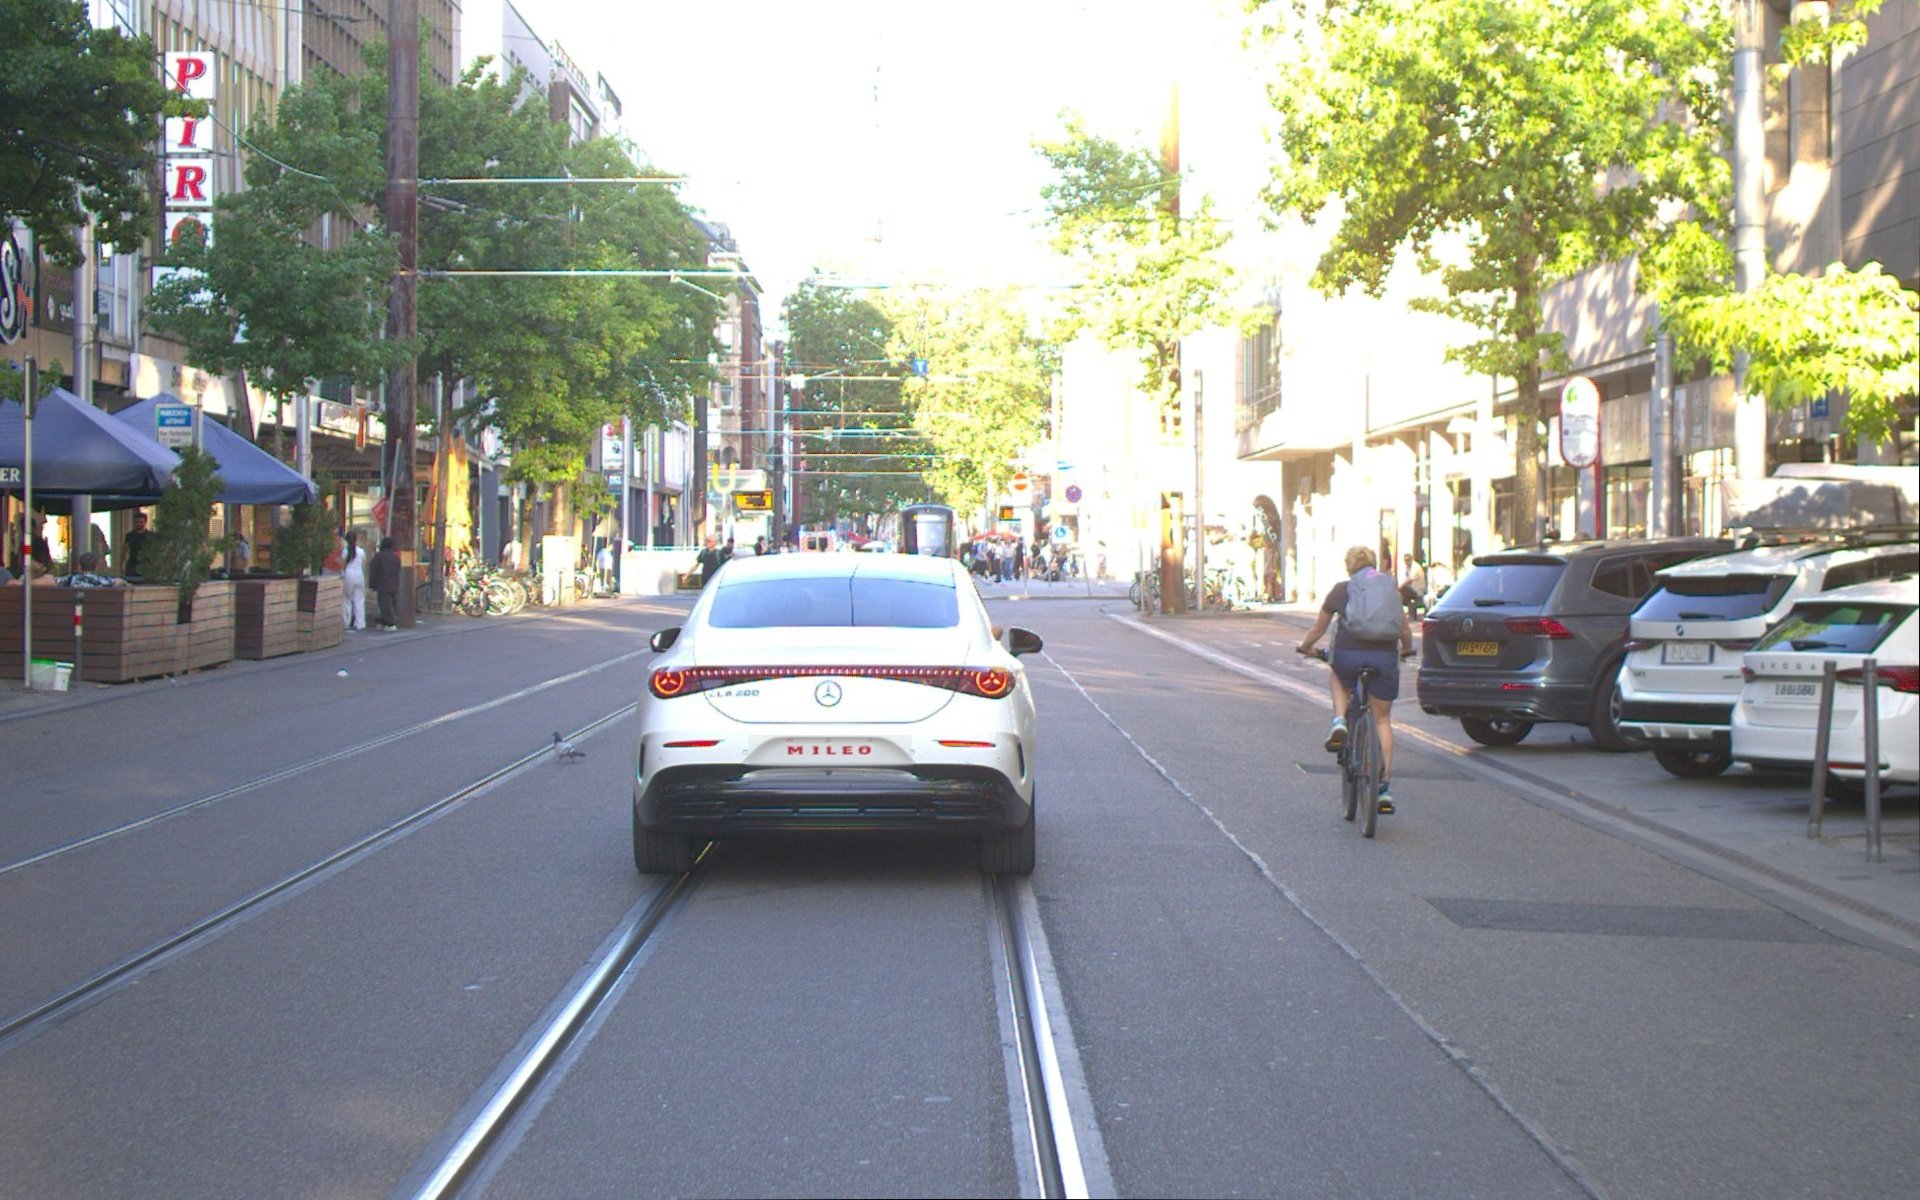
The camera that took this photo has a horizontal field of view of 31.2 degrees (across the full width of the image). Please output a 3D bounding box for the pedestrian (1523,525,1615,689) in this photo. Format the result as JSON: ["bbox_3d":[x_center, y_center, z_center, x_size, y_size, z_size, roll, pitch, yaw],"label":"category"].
[{"bbox_3d":[6.392,0.071,36.068,0.680,1.679,0.695,-1,1,33],"label":"pedestrian"}]

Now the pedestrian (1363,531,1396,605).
[{"bbox_3d":[9.393,-0.715,77.024,0.637,1.647,0.781,0,1,1],"label":"pedestrian"}]

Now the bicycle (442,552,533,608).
[{"bbox_3d":[-9.544,-0.398,69.459,1.788,1.073,0.377,2,1,-4],"label":"bicycle"}]

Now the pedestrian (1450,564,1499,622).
[{"bbox_3d":[9.359,-0.136,62.546,0.836,1.027,0.696,1,1,5],"label":"pedestrian"}]

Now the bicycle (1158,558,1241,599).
[{"bbox_3d":[6.374,-0.571,91.596,2.113,1.092,0.610,0,1,-11],"label":"bicycle"}]

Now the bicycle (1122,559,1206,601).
[{"bbox_3d":[5.340,-0.522,90.068,2.113,1.092,0.610,0,0,-11],"label":"bicycle"}]

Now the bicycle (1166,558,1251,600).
[{"bbox_3d":[6.456,-0.547,89.397,2.113,1.092,0.610,0,1,-13],"label":"bicycle"}]

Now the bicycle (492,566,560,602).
[{"bbox_3d":[-9.952,-0.359,78.759,1.492,0.780,0.344,2,1,1],"label":"bicycle"}]

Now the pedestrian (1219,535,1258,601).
[{"bbox_3d":[7.621,-0.883,93.990,0.899,1.739,0.690,-3,1,-1],"label":"pedestrian"}]

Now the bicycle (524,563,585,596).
[{"bbox_3d":[-10.272,-0.516,87.045,1.492,0.780,0.344,2,1,1],"label":"bicycle"}]

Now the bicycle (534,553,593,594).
[{"bbox_3d":[-10.241,-0.681,88.809,1.492,1.025,0.345,1,1,-10],"label":"bicycle"}]

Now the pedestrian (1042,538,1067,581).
[{"bbox_3d":[3.963,-1.686,144.379,0.960,1.779,0.804,-2,1,-1],"label":"pedestrian"}]

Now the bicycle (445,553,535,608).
[{"bbox_3d":[-10.079,-0.418,73.681,1.846,1.137,0.377,2,1,1],"label":"bicycle"}]

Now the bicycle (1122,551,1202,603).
[{"bbox_3d":[5.114,-0.586,87.083,1.908,1.277,0.610,-2,1,-11],"label":"bicycle"}]

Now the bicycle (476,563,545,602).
[{"bbox_3d":[-10.108,-0.392,77.357,1.492,0.838,0.344,2,1,1],"label":"bicycle"}]

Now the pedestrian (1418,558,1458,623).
[{"bbox_3d":[8.879,-0.185,63.885,0.666,1.194,0.785,1,1,5],"label":"pedestrian"}]

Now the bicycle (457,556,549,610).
[{"bbox_3d":[-9.451,-0.354,71.130,1.846,1.073,0.377,2,1,-4],"label":"bicycle"}]

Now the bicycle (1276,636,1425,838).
[{"bbox_3d":[2.221,0.743,19.364,0.719,0.992,2.058,2,1,9],"label":"bicycle"}]

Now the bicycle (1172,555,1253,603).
[{"bbox_3d":[6.325,-0.536,86.272,1.908,1.152,0.610,-2,1,-11],"label":"bicycle"}]

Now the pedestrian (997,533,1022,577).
[{"bbox_3d":[2.053,-1.860,141.955,0.960,1.779,0.804,-2,1,-1],"label":"pedestrian"}]

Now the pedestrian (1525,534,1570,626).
[{"bbox_3d":[11.245,-0.384,65.817,0.715,1.735,0.835,0,1,0],"label":"pedestrian"}]

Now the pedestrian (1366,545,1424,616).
[{"bbox_3d":[8.532,-0.385,67.443,0.833,1.372,0.778,0,1,-22],"label":"pedestrian"}]

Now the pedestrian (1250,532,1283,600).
[{"bbox_3d":[8.385,-0.939,93.963,0.701,1.806,1.033,-3,1,-1],"label":"pedestrian"}]

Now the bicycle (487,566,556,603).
[{"bbox_3d":[-9.953,-0.353,78.093,1.492,0.780,0.344,2,1,1],"label":"bicycle"}]

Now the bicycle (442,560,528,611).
[{"bbox_3d":[-9.198,-0.284,66.595,1.596,0.927,0.377,2,1,7],"label":"bicycle"}]

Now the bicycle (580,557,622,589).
[{"bbox_3d":[-11.479,-0.868,110.009,0.719,1.006,2.038,0,1,14],"label":"bicycle"}]

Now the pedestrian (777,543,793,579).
[{"bbox_3d":[-7.682,-1.712,150.844,0.660,1.593,0.573,0,1,-1],"label":"pedestrian"}]

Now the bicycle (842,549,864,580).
[{"bbox_3d":[-4.105,-1.354,131.810,0.800,1.138,2.257,2,1,-2],"label":"bicycle"}]

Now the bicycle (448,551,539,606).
[{"bbox_3d":[-9.480,-0.440,69.927,1.788,1.073,0.377,2,1,-4],"label":"bicycle"}]

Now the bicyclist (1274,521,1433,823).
[{"bbox_3d":[2.195,0.381,19.095,0.778,1.607,0.912,2,1,9],"label":"bicyclist"}]
